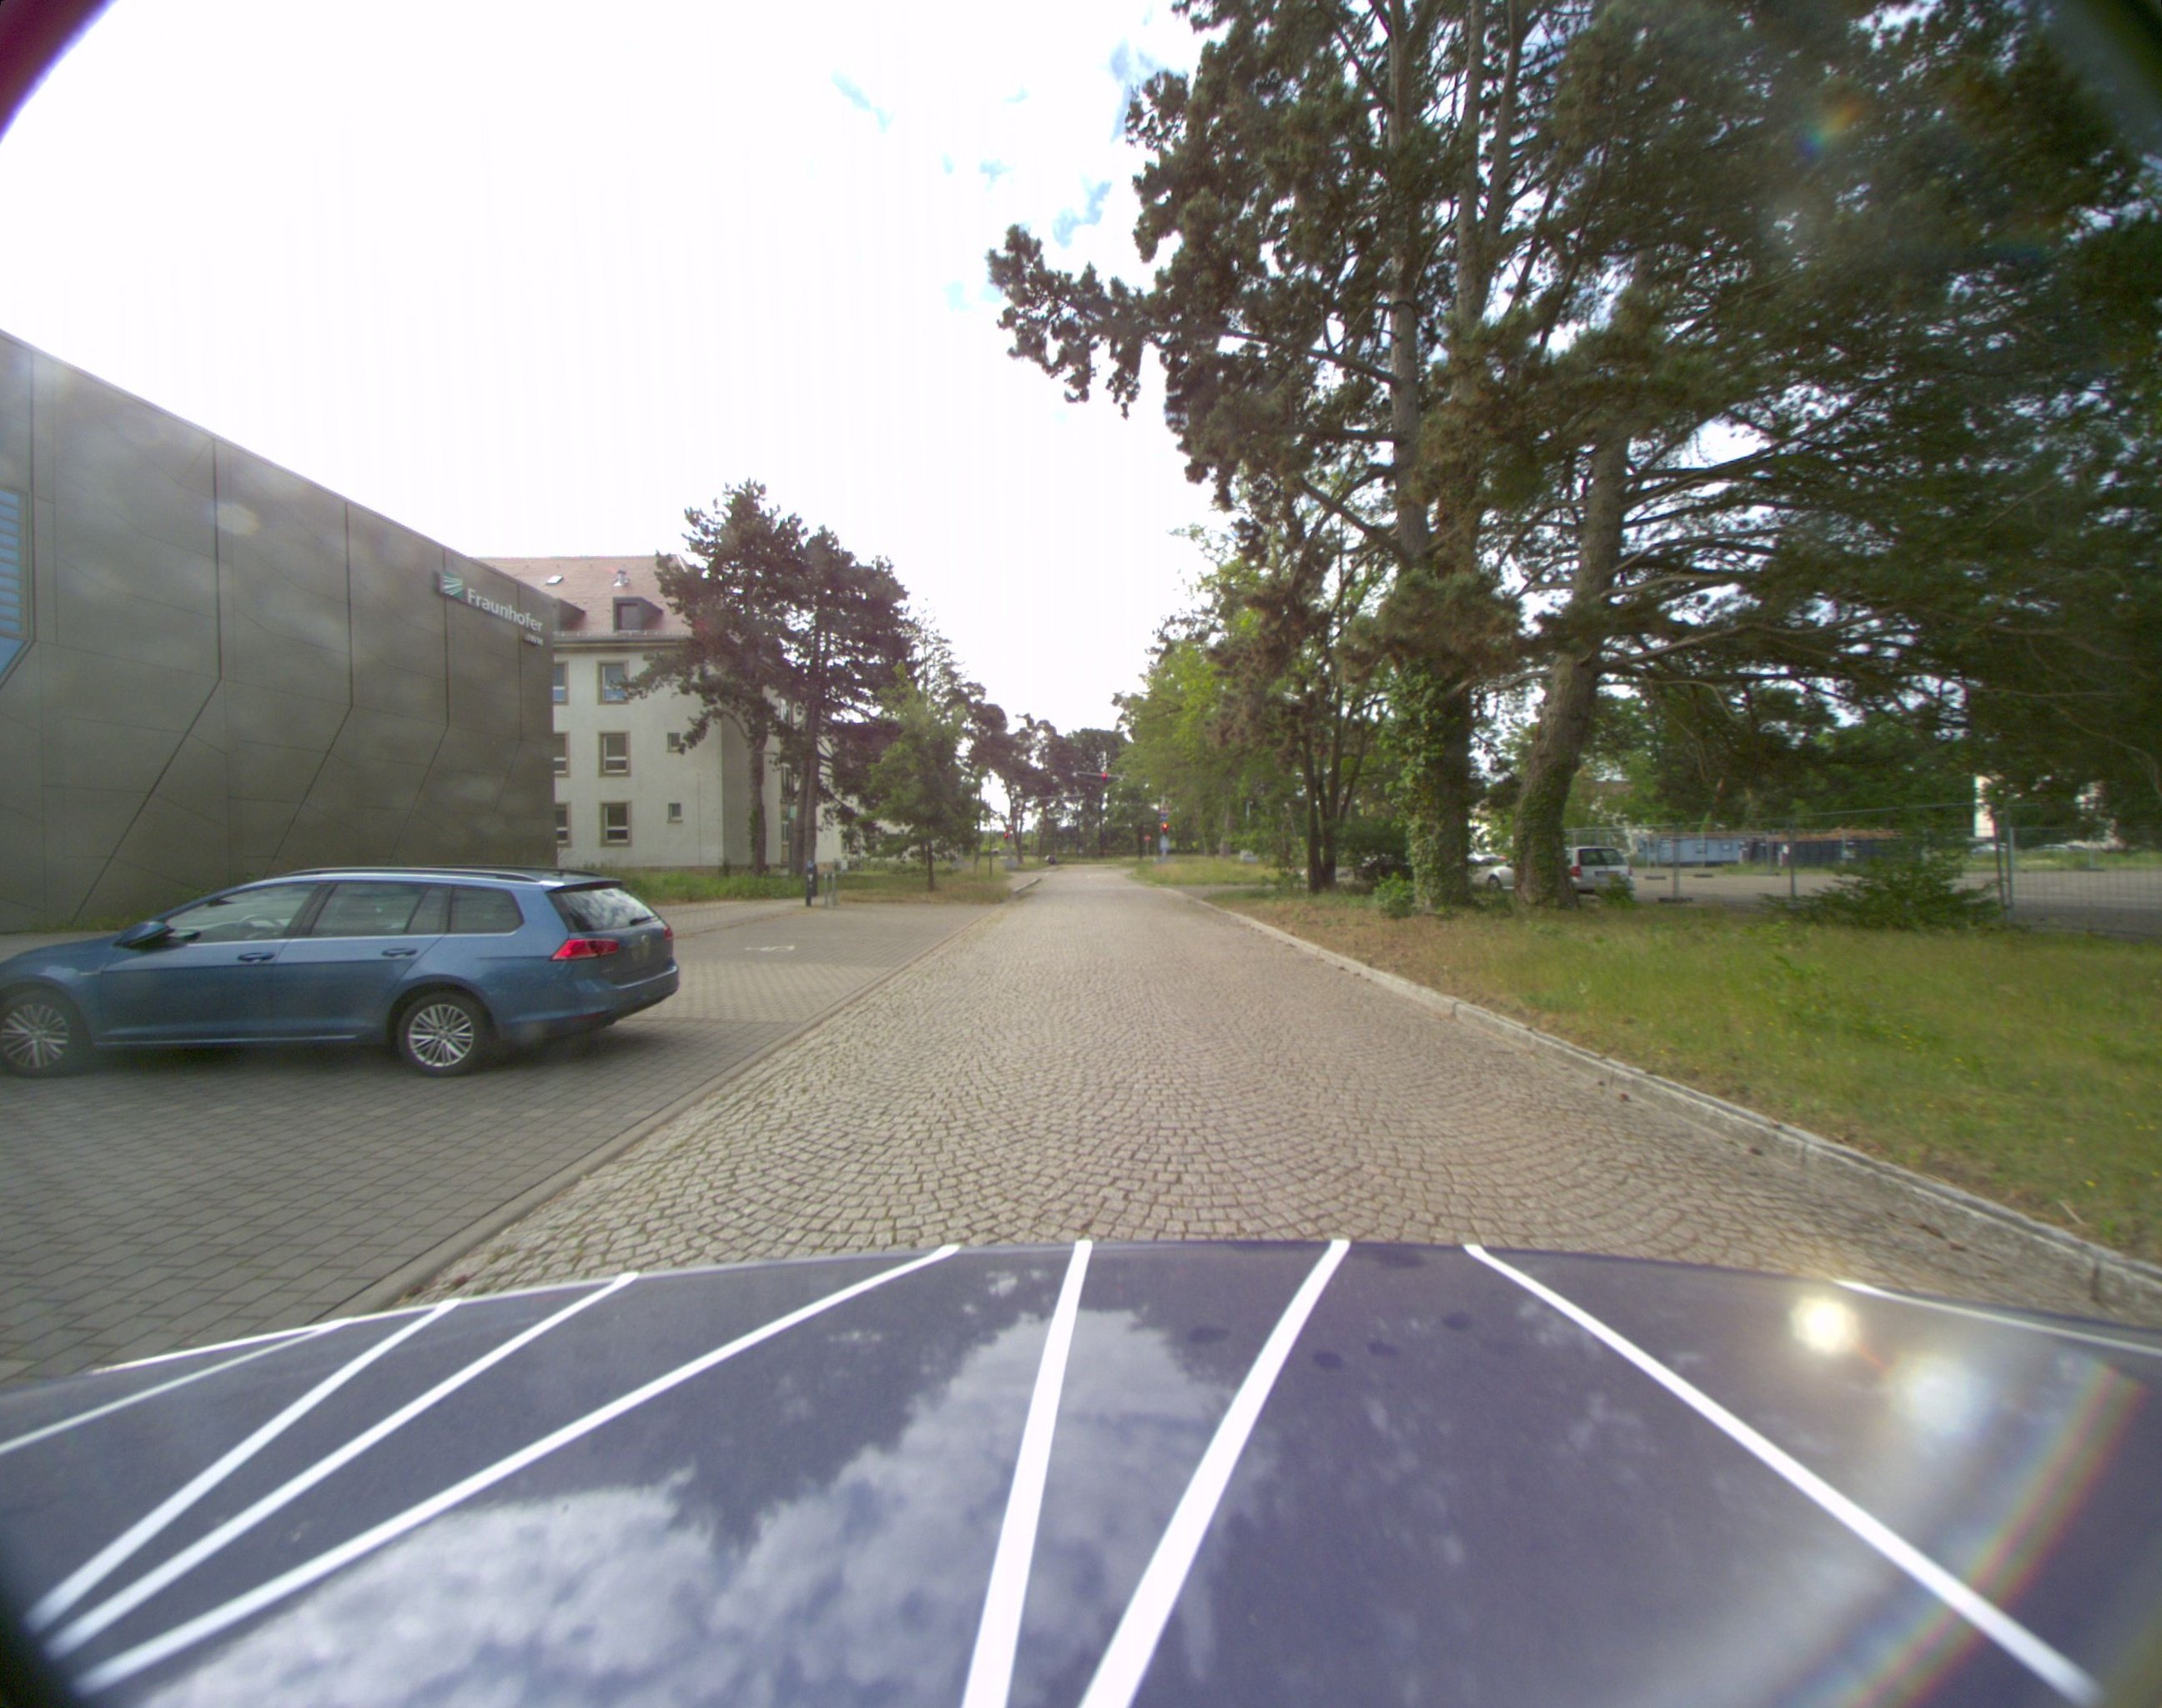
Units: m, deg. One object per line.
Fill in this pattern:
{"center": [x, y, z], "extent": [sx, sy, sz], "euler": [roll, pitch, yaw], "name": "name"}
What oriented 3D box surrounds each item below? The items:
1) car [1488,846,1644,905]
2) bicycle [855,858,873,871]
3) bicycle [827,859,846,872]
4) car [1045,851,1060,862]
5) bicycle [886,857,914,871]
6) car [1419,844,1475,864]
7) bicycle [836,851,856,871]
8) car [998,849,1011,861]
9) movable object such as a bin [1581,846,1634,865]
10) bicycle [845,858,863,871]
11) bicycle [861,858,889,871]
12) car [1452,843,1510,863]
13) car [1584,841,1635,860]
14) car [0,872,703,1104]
{"center": [12.724, 0.506, 20.219], "extent": [1.670, 1.402, 3.722], "euler": [-1, 0, -2], "name": "car"}
{"center": [-18.695, 0.918, 65.452], "extent": [0.799, 1.051, 2.166], "euler": [-1, 1, 3], "name": "bicycle"}
{"center": [-21.153, 0.966, 65.712], "extent": [0.799, 1.051, 2.199], "euler": [-1, 1, 3], "name": "bicycle"}
{"center": [-4.558, 0.397, 121.464], "extent": [1.999, 1.777, 3.997], "euler": [-1, 0, -6], "name": "car"}
{"center": [-15.324, 0.844, 64.311], "extent": [2.165, 1.089, 0.717], "euler": [-1, 1, -3], "name": "bicycle"}
{"center": [28.043, -0.029, 58.397], "extent": [1.999, 1.441, 4.451], "euler": [-1, 0, -3], "name": "car"}
{"center": [-20.310, 0.609, 65.794], "extent": [0.905, 1.722, 2.199], "euler": [-1, 1, 3], "name": "bicycle"}
{"center": [-12.185, 0.168, 120.552], "extent": [1.999, 1.777, 3.997], "euler": [-1, 0, -6], "name": "car"}
{"center": [31.899, 0.075, 46.112], "extent": [1.057, 1.065, 2.719], "euler": [-1, 0, -8], "name": "movable object such as a bin"}
{"center": [-19.544, 0.934, 65.463], "extent": [0.799, 1.051, 2.199], "euler": [-1, 1, 3], "name": "bicycle"}
{"center": [-17.406, 0.908, 64.375], "extent": [2.165, 1.051, 0.717], "euler": [-1, 1, -3], "name": "bicycle"}
{"center": [30.927, -0.104, 58.918], "extent": [1.999, 1.441, 4.451], "euler": [-1, 0, -3], "name": "car"}
{"center": [48.083, -0.297, 69.228], "extent": [1.749, 1.674, 3.803], "euler": [-1, 0, -5], "name": "car"}
{"center": [-5.805, 0.945, 6.097], "extent": [4.537, 1.441, 1.931], "euler": [1, 0, -2], "name": "car"}
